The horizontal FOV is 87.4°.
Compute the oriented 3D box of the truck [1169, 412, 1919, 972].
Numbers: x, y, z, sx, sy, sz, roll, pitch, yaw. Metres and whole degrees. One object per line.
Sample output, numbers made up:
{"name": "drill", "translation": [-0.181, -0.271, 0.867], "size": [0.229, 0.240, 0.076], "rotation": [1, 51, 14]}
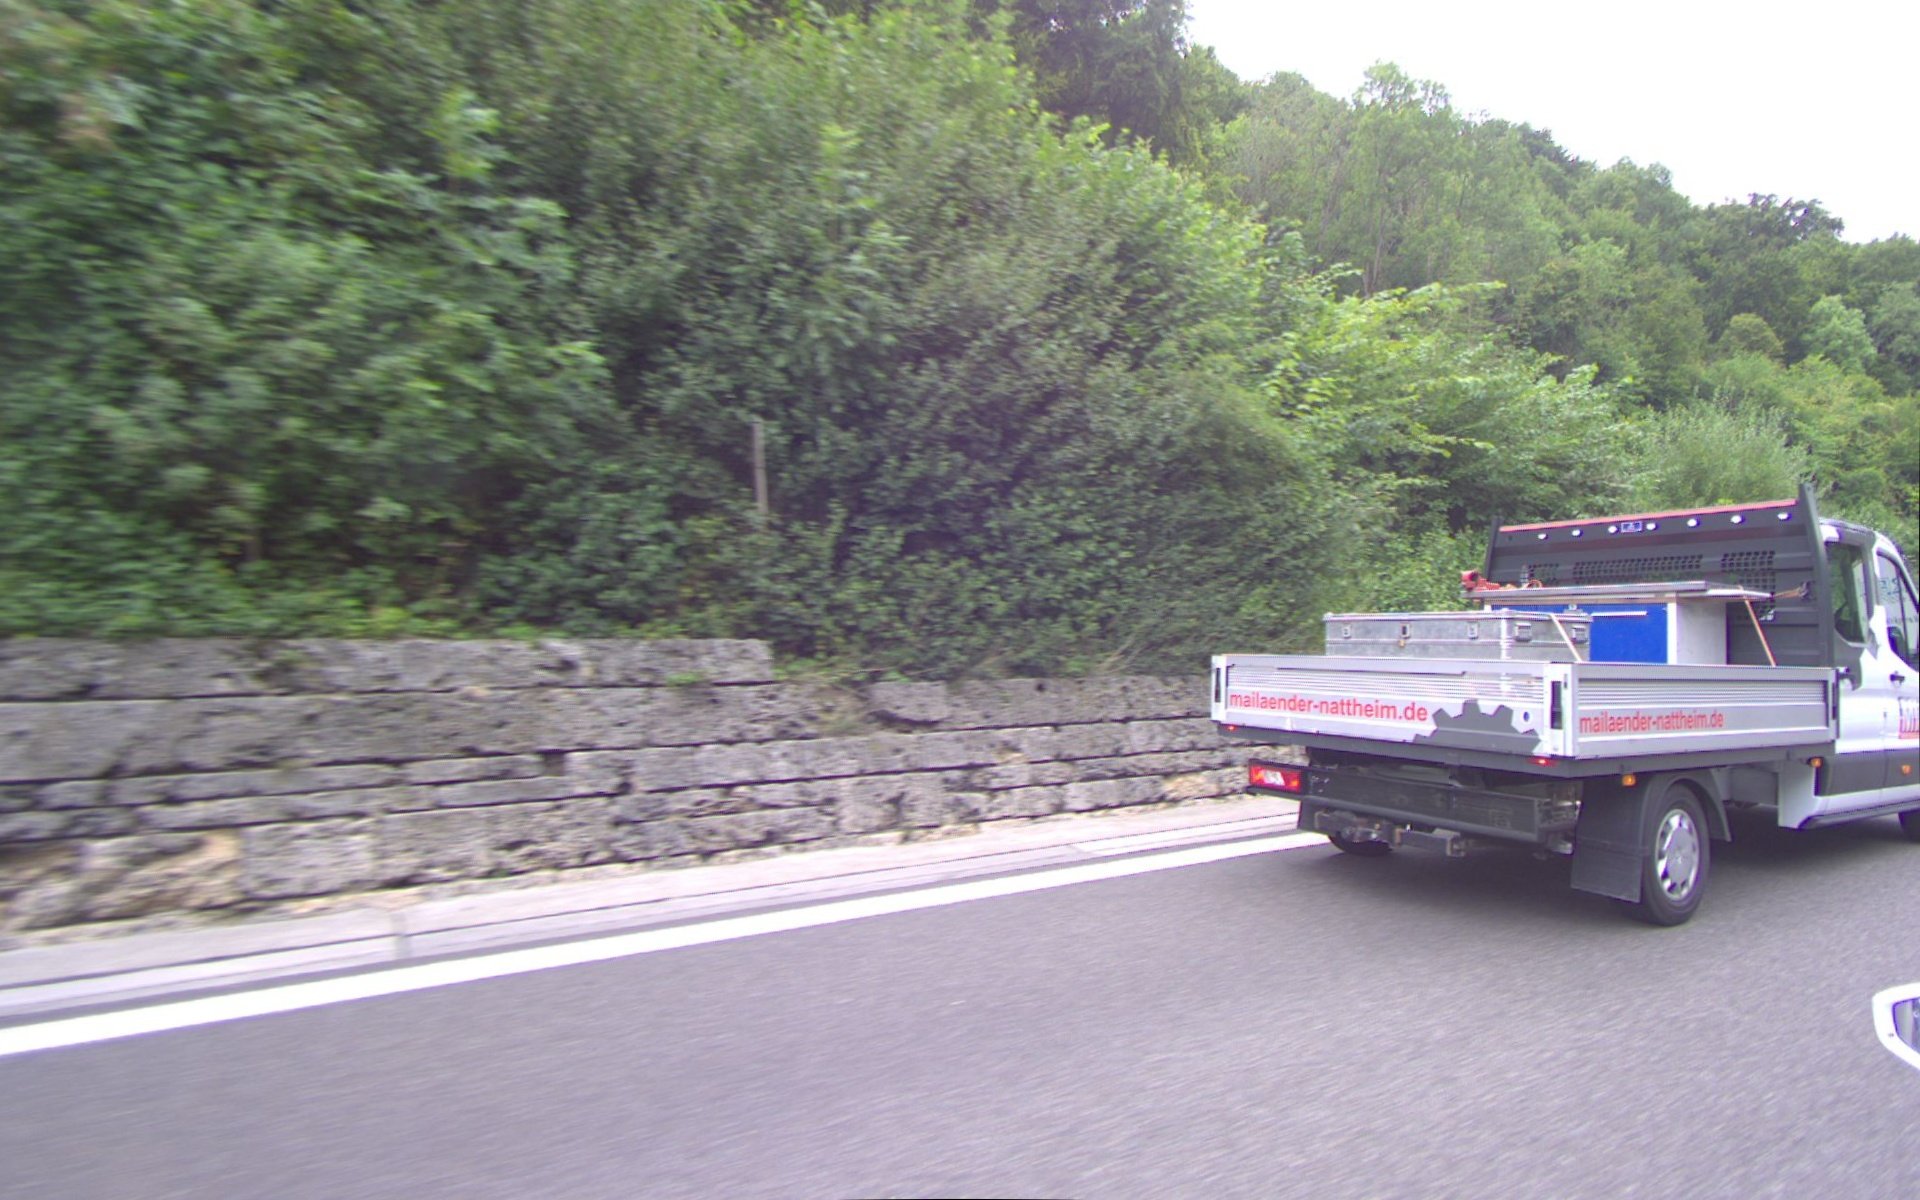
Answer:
{"name": "truck", "translation": [4.759, 0.501, 6.926], "size": [6.772, 2.303, 2.337], "rotation": [2, -2, -32]}
